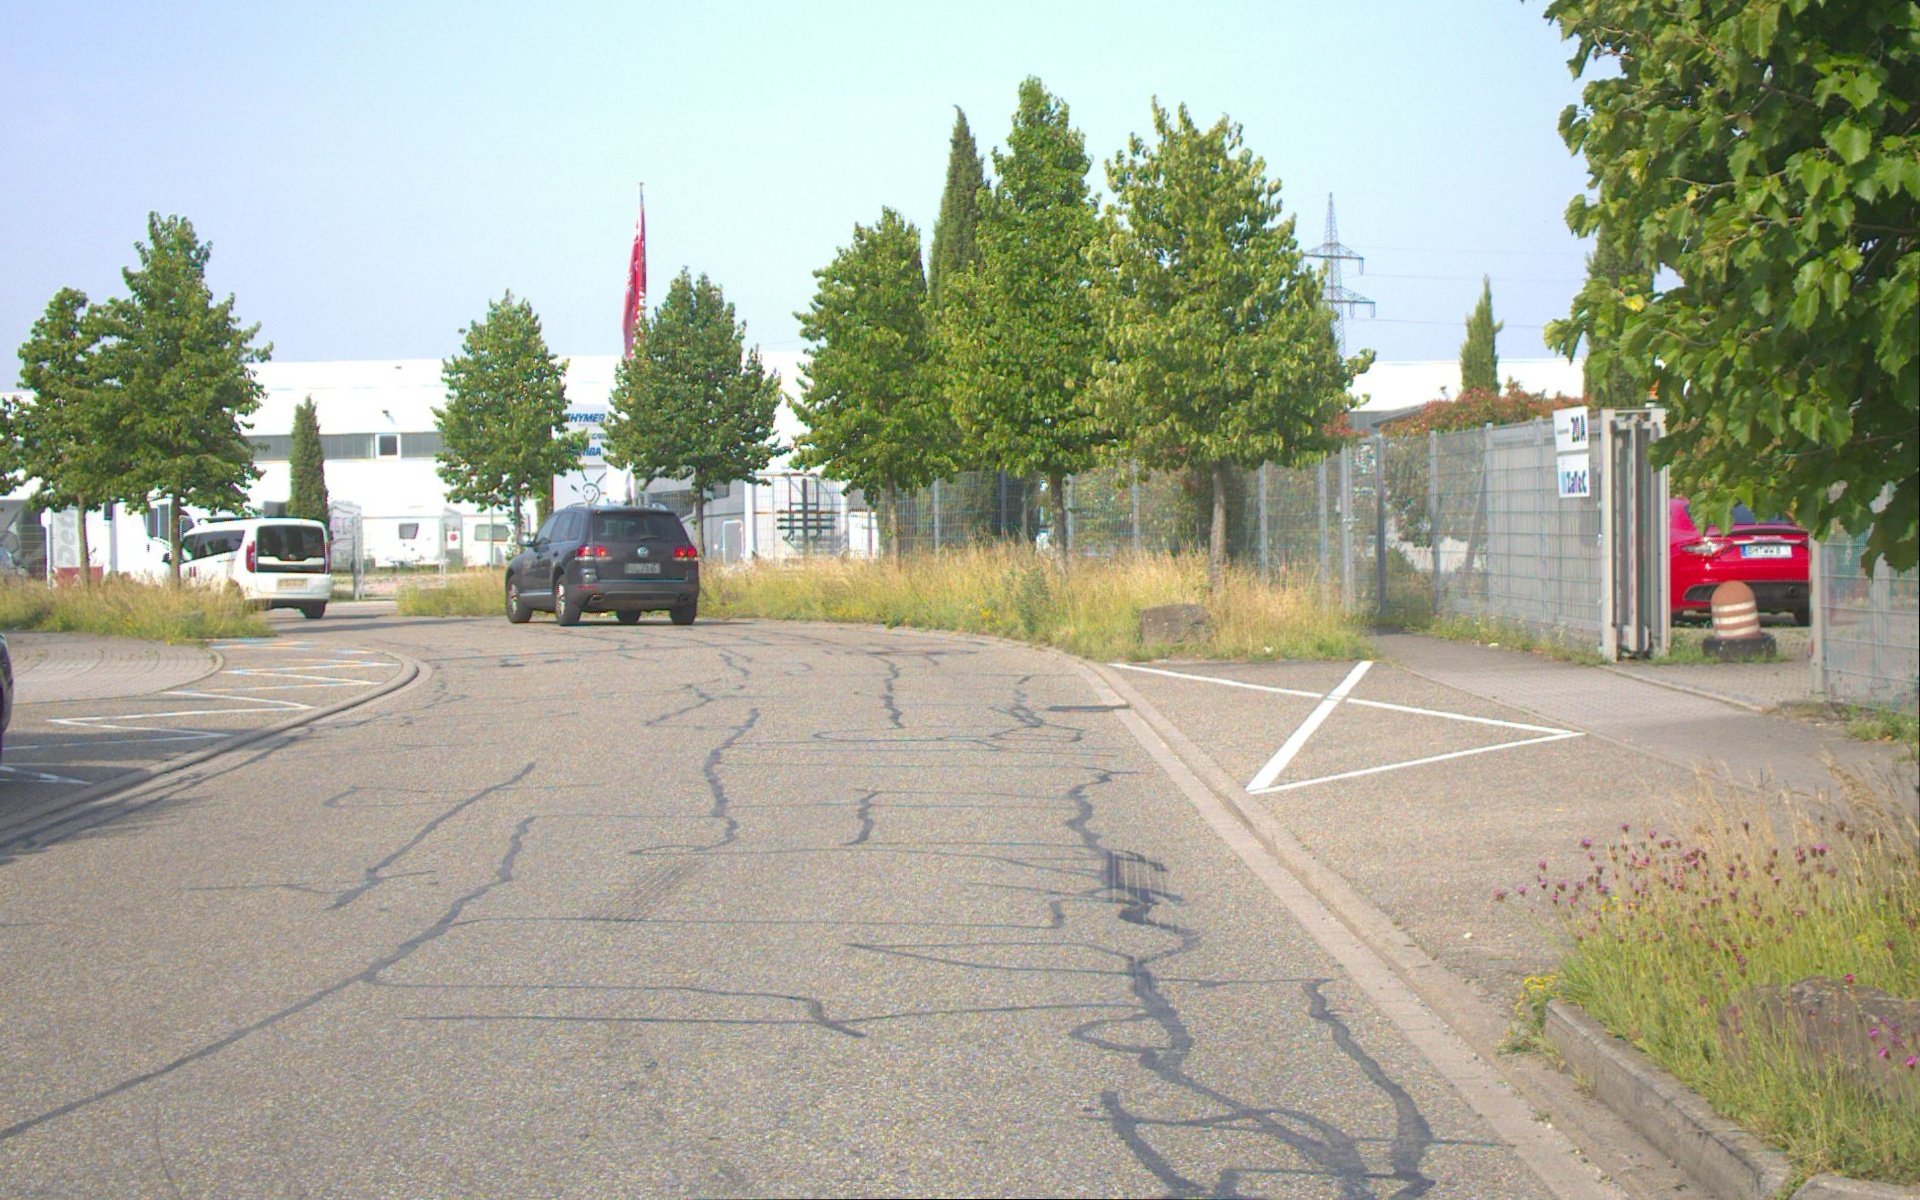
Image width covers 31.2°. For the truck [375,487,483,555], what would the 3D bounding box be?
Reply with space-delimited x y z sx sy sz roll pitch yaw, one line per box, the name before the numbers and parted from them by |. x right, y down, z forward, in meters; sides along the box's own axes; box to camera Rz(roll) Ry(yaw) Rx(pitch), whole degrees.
truck | -18.348 -2.745 119.220 2.450 2.257 8.002 -1 1 0

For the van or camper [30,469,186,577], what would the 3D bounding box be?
van or camper | -25.480 -2.348 103.201 2.798 3.073 7.971 -1 2 -1

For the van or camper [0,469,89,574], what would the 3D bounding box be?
van or camper | -28.654 -2.410 104.074 2.662 3.073 6.795 0 2 1

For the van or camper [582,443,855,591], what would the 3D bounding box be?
van or camper | -4.978 -1.643 69.371 2.349 2.838 7.342 -1 1 -31

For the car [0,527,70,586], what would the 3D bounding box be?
car | -25.067 -1.112 89.129 2.167 1.471 3.998 -1 1 15

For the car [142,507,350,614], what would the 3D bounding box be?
car | -13.309 -0.743 63.898 1.994 1.893 4.466 -2 2 -38

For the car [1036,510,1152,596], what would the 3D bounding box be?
car | 2.624 -0.961 68.103 1.722 1.637 4.001 0 1 -6

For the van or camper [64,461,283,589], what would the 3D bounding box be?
van or camper | -18.931 -1.787 82.456 2.331 2.933 6.969 -2 2 -38

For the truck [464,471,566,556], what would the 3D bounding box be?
truck | -15.365 -2.996 119.173 2.450 2.816 8.002 -1 1 0

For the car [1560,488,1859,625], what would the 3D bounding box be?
car | 8.030 -0.504 37.275 1.880 1.353 4.774 -1 1 -4

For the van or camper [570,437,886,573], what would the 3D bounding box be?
van or camper | -5.484 -2.226 80.844 7.257 3.021 2.586 -1 1 -6

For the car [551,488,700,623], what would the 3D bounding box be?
car | -4.712 -0.653 48.488 1.993 1.798 4.001 1 1 -5

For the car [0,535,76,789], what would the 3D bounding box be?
car | -6.618 0.382 19.645 1.993 1.461 4.433 1 2 0
